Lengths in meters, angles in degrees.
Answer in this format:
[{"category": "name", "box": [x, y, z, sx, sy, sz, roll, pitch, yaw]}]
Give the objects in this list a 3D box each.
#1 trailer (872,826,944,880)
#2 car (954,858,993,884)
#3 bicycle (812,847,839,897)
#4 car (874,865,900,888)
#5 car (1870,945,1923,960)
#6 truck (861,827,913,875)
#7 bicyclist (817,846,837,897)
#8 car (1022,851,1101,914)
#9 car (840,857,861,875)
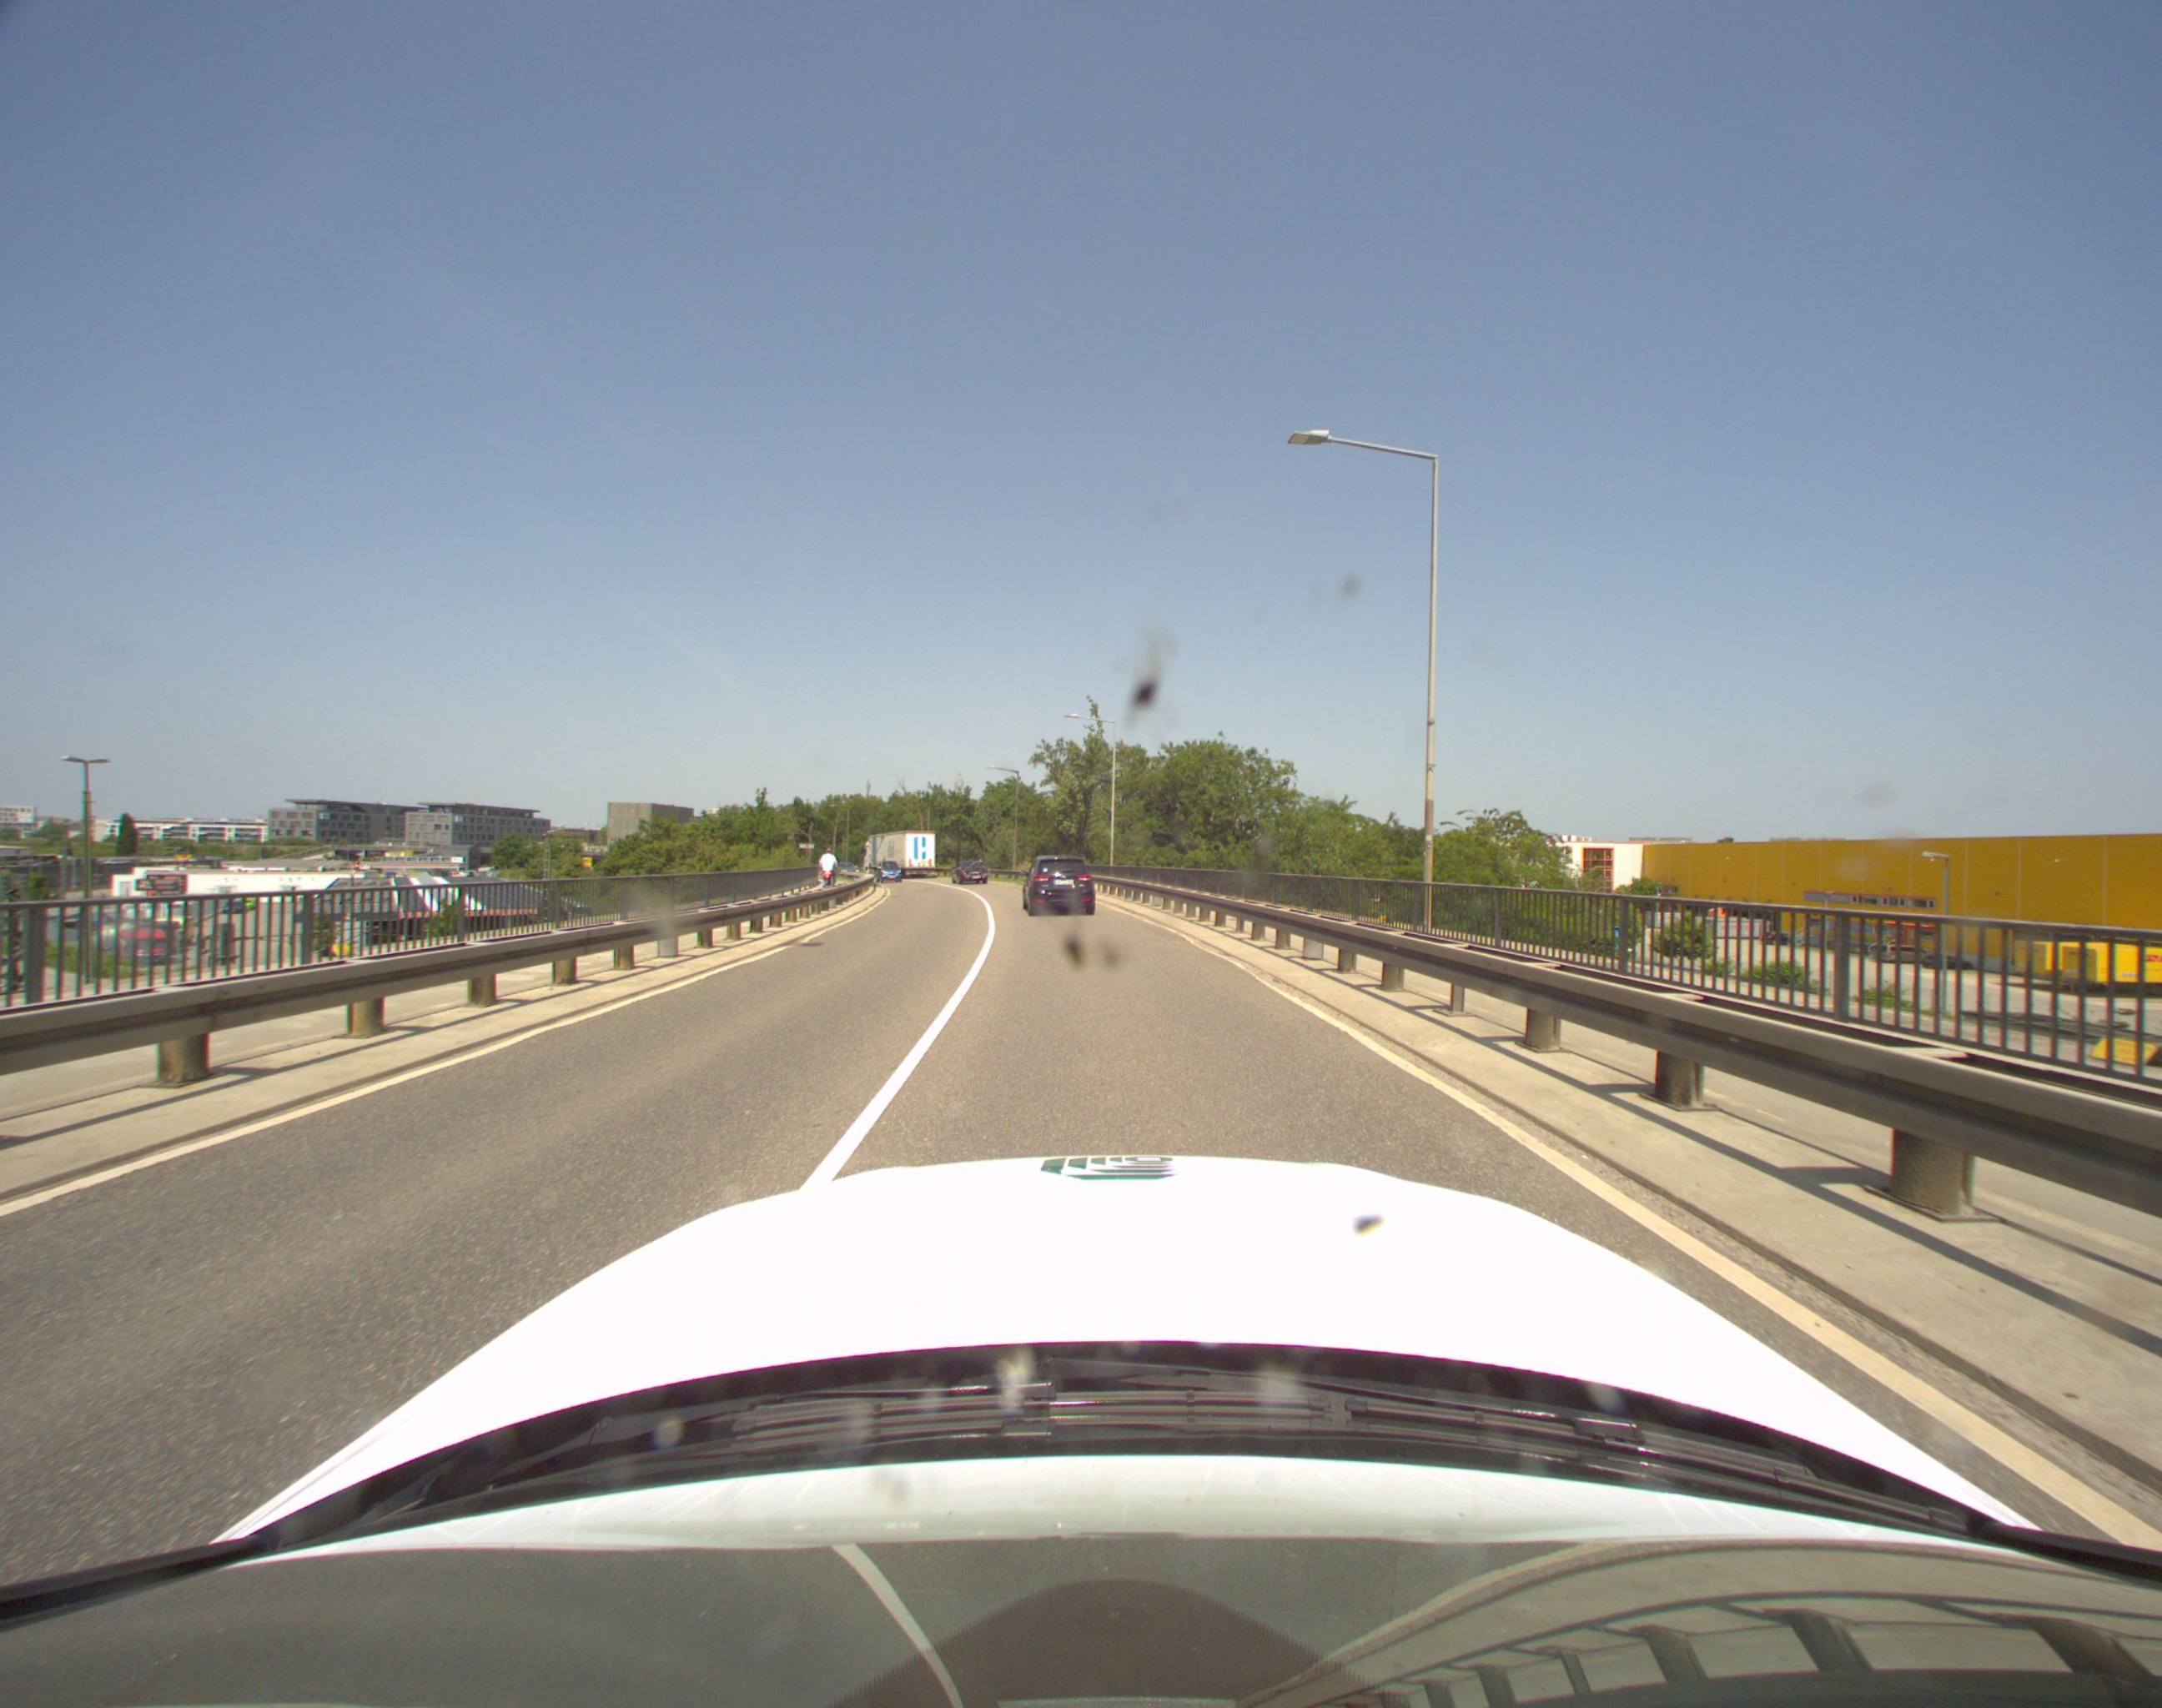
[{"category": "trailer", "box": [-15.631, -0.157, 72.643, 3.588, 4.384, 11.343, -1, 1, -26]}, {"category": "car", "box": [-6.610, 1.004, 49.852, 2.014, 1.429, 3.759, 0, 1, -14]}, {"category": "bicycle", "box": [-9.470, 0.635, 30.275, 0.698, 1.801, 2.173, 0, 1, -11]}, {"category": "car", "box": [-13.787, 1.575, 57.847, 1.601, 1.486, 2.732, -1, 1, -17]}, {"category": "car", "box": [87.965, 10.604, 87.857, 3.817, 1.449, 1.802, 0, 1, 3]}, {"category": "truck", "box": [-19.001, -0.319, 79.520, 3.592, 4.440, 6.458, -1, 1, -27]}, {"category": "bicyclist", "box": [-9.398, 0.633, 30.124, 0.624, 1.886, 0.709, 0, 0, -12]}, {"category": "car", "box": [-0.628, 0.709, 22.721, 1.919, 1.574, 3.884, 0, 1, -6]}, {"category": "car", "box": [-21.418, 1.078, 75.691, 1.827, 1.537, 4.171, -1, 1, -17]}]
